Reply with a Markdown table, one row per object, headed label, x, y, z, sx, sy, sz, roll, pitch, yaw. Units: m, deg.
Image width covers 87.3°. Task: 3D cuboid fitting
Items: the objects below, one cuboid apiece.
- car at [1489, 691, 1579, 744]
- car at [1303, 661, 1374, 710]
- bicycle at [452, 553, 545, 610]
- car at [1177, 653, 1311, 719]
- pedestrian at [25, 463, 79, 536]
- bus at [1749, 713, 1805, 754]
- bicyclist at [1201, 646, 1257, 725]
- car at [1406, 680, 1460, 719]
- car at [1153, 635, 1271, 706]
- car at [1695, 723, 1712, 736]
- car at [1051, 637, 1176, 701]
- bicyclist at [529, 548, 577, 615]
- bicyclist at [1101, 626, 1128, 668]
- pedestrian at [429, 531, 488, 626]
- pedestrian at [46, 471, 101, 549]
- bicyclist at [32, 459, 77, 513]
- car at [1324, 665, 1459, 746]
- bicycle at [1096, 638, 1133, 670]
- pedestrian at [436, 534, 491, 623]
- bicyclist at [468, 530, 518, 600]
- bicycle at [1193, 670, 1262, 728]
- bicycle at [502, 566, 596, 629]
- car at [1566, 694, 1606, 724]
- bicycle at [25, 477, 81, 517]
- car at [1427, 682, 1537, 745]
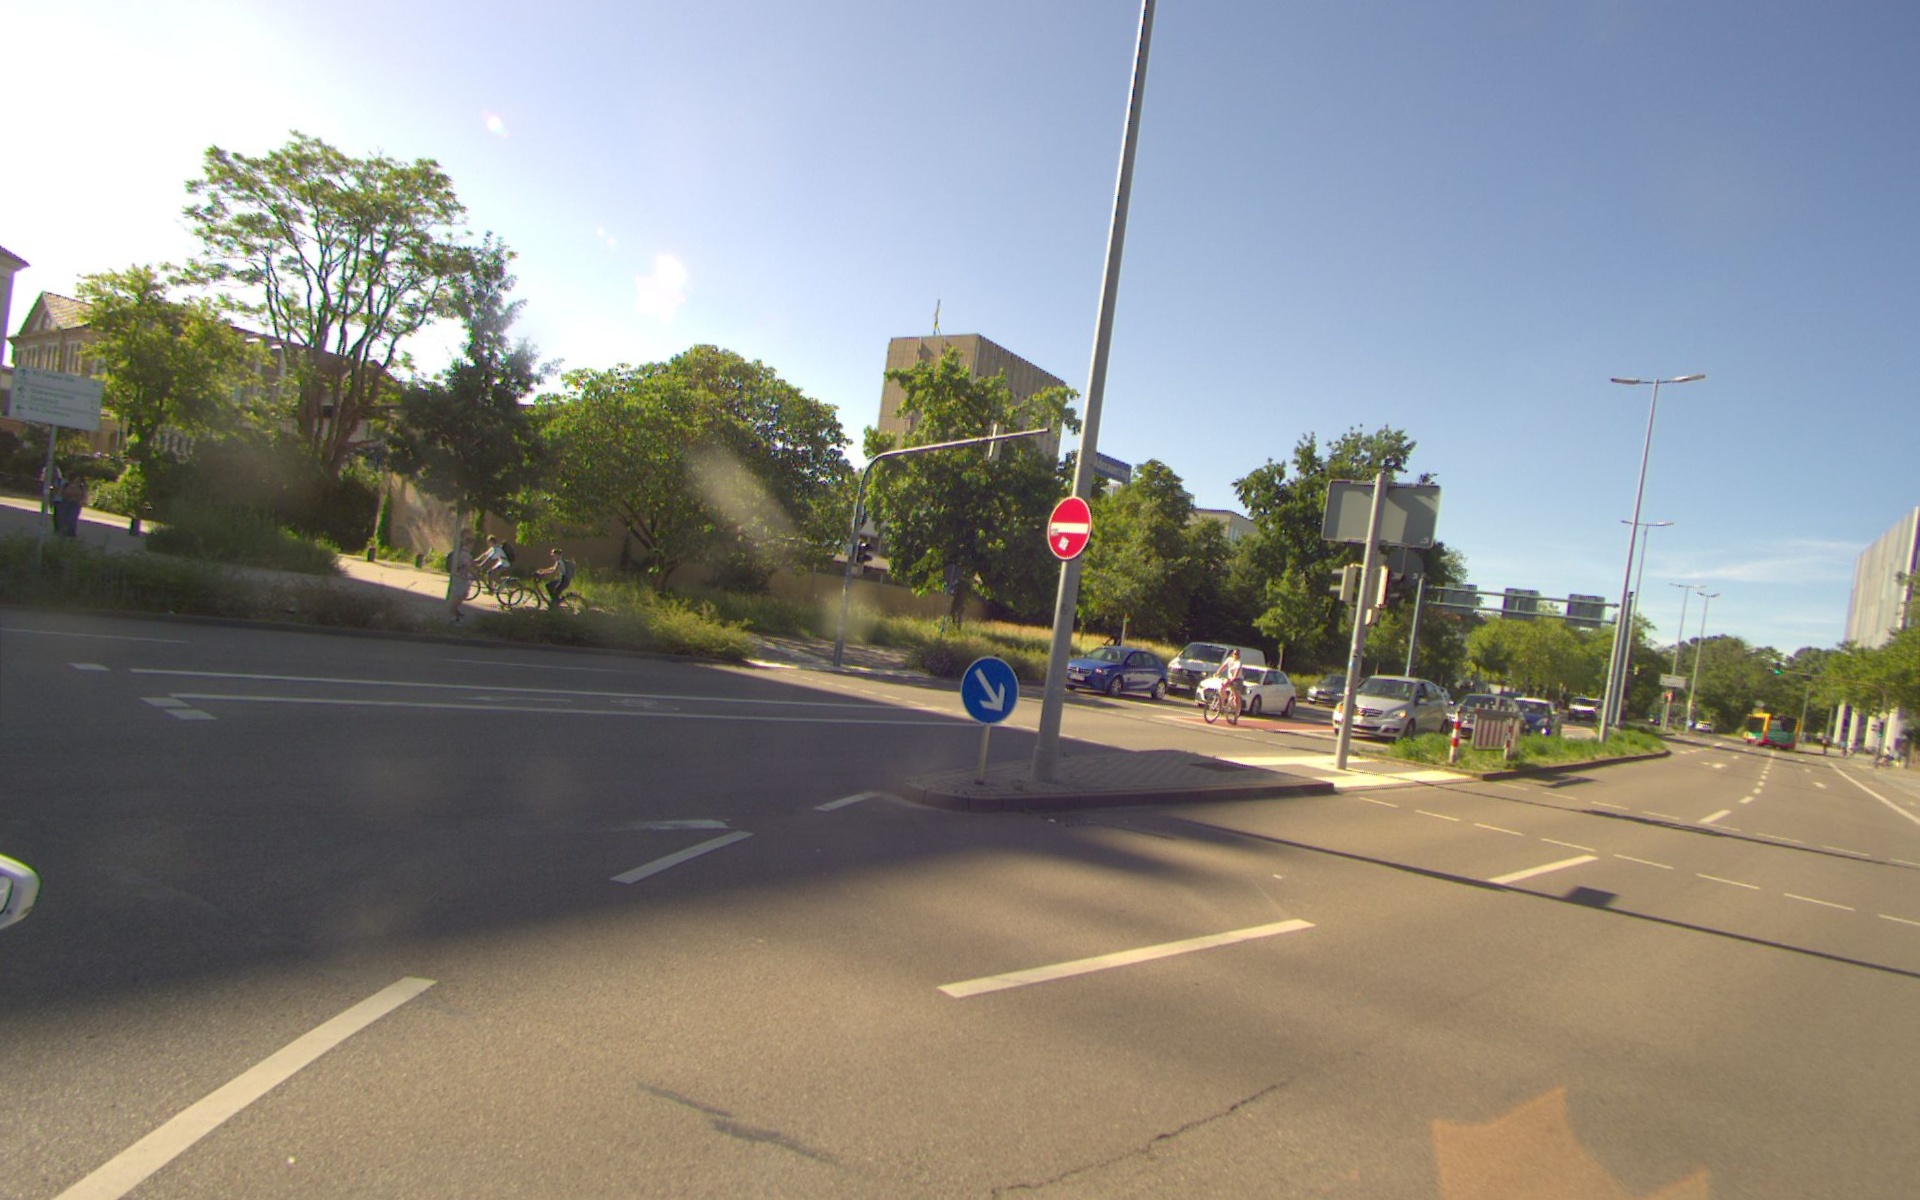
| label | x | y | z | sx | sy | sz | roll | pitch | yaw |
| --- | --- | --- | --- | --- | --- | --- | --- | --- | --- |
| car | 21.437 | 4.414 | 37.490 | 1.956 | 1.572 | 4.705 | 6 | -2 | 41 |
| car | 16.921 | 3.864 | 44.875 | 1.908 | 1.820 | 4.352 | 7 | -2 | 33 |
| bicycle | -11.730 | -0.455 | 25.593 | 1.945 | 1.180 | 0.634 | 8 | 3 | -44 |
| car | 8.412 | 2.557 | 29.597 | 3.978 | 1.486 | 1.974 | 8 | 0 | -45 |
| pedestrian | -22.437 | -2.479 | 24.875 | 0.671 | 1.661 | 0.730 | 10 | -1 | -32 |
| bus | 78.128 | 12.800 | 96.274 | 2.938 | 3.309 | 6.252 | 9 | -2 | 31 |
| bicyclist | 6.285 | 1.998 | 23.480 | 0.735 | 1.707 | 0.973 | 9 | 2 | 39 |
| car | 26.615 | 5.623 | 56.511 | 1.818 | 1.851 | 4.379 | 7 | -2 | 36 |
| car | 8.822 | 2.487 | 34.967 | 1.912 | 1.975 | 4.738 | 7 | -2 | 41 |
| car | 111.267 | 19.404 | 150.559 | 1.669 | 1.611 | 3.586 | 7 | -2 | 39 |
| car | 4.582 | 2.057 | 29.685 | 1.681 | 1.459 | 3.984 | 6 | -2 | 41 |
| bicyclist | -9.592 | -0.438 | 23.726 | 0.764 | 1.463 | 0.641 | 8 | 2 | -9 |
| bicyclist | 6.585 | 1.998 | 42.798 | 0.633 | 1.665 | 0.774 | 9 | 1 | 35 |
| pedestrian | -10.413 | -0.450 | 20.885 | 0.730 | 1.836 | 0.724 | 10 | -1 | -36 |
| pedestrian | -20.420 | -2.065 | 23.177 | 0.672 | 1.661 | 0.728 | 10 | -1 | -36 |
| bicyclist | -32.187 | -4.031 | 35.780 | 0.712 | 1.756 | 0.972 | 8 | 1 | -21 |
| car | 10.854 | 2.680 | 25.146 | 1.764 | 1.644 | 4.299 | 7 | -2 | 40 |
| bicycle | 6.609 | 2.304 | 42.896 | 0.633 | 1.179 | 1.865 | 9 | 0 | 36 |
| pedestrian | -10.784 | -0.467 | 21.849 | 0.730 | 1.802 | 0.724 | 10 | -1 | -36 |
| bicyclist | -11.810 | -0.876 | 25.438 | 0.827 | 1.616 | 0.623 | 7 | 4 | -43 |
| bicycle | 6.254 | 2.303 | 23.492 | 0.737 | 1.180 | 1.862 | 9 | 1 | 39 |
| bicycle | -9.679 | -0.062 | 23.740 | 1.840 | 1.180 | 0.641 | 9 | 2 | -10 |
| car | 48.899 | 8.534 | 78.565 | 1.911 | 1.975 | 4.515 | 7 | -2 | 39 |
| bicycle | -32.243 | -3.649 | 35.797 | 0.738 | 1.179 | 1.860 | 8 | 0 | -21 |
| car | 16.537 | 3.612 | 31.723 | 1.956 | 1.572 | 4.705 | 6 | -2 | 41 |
